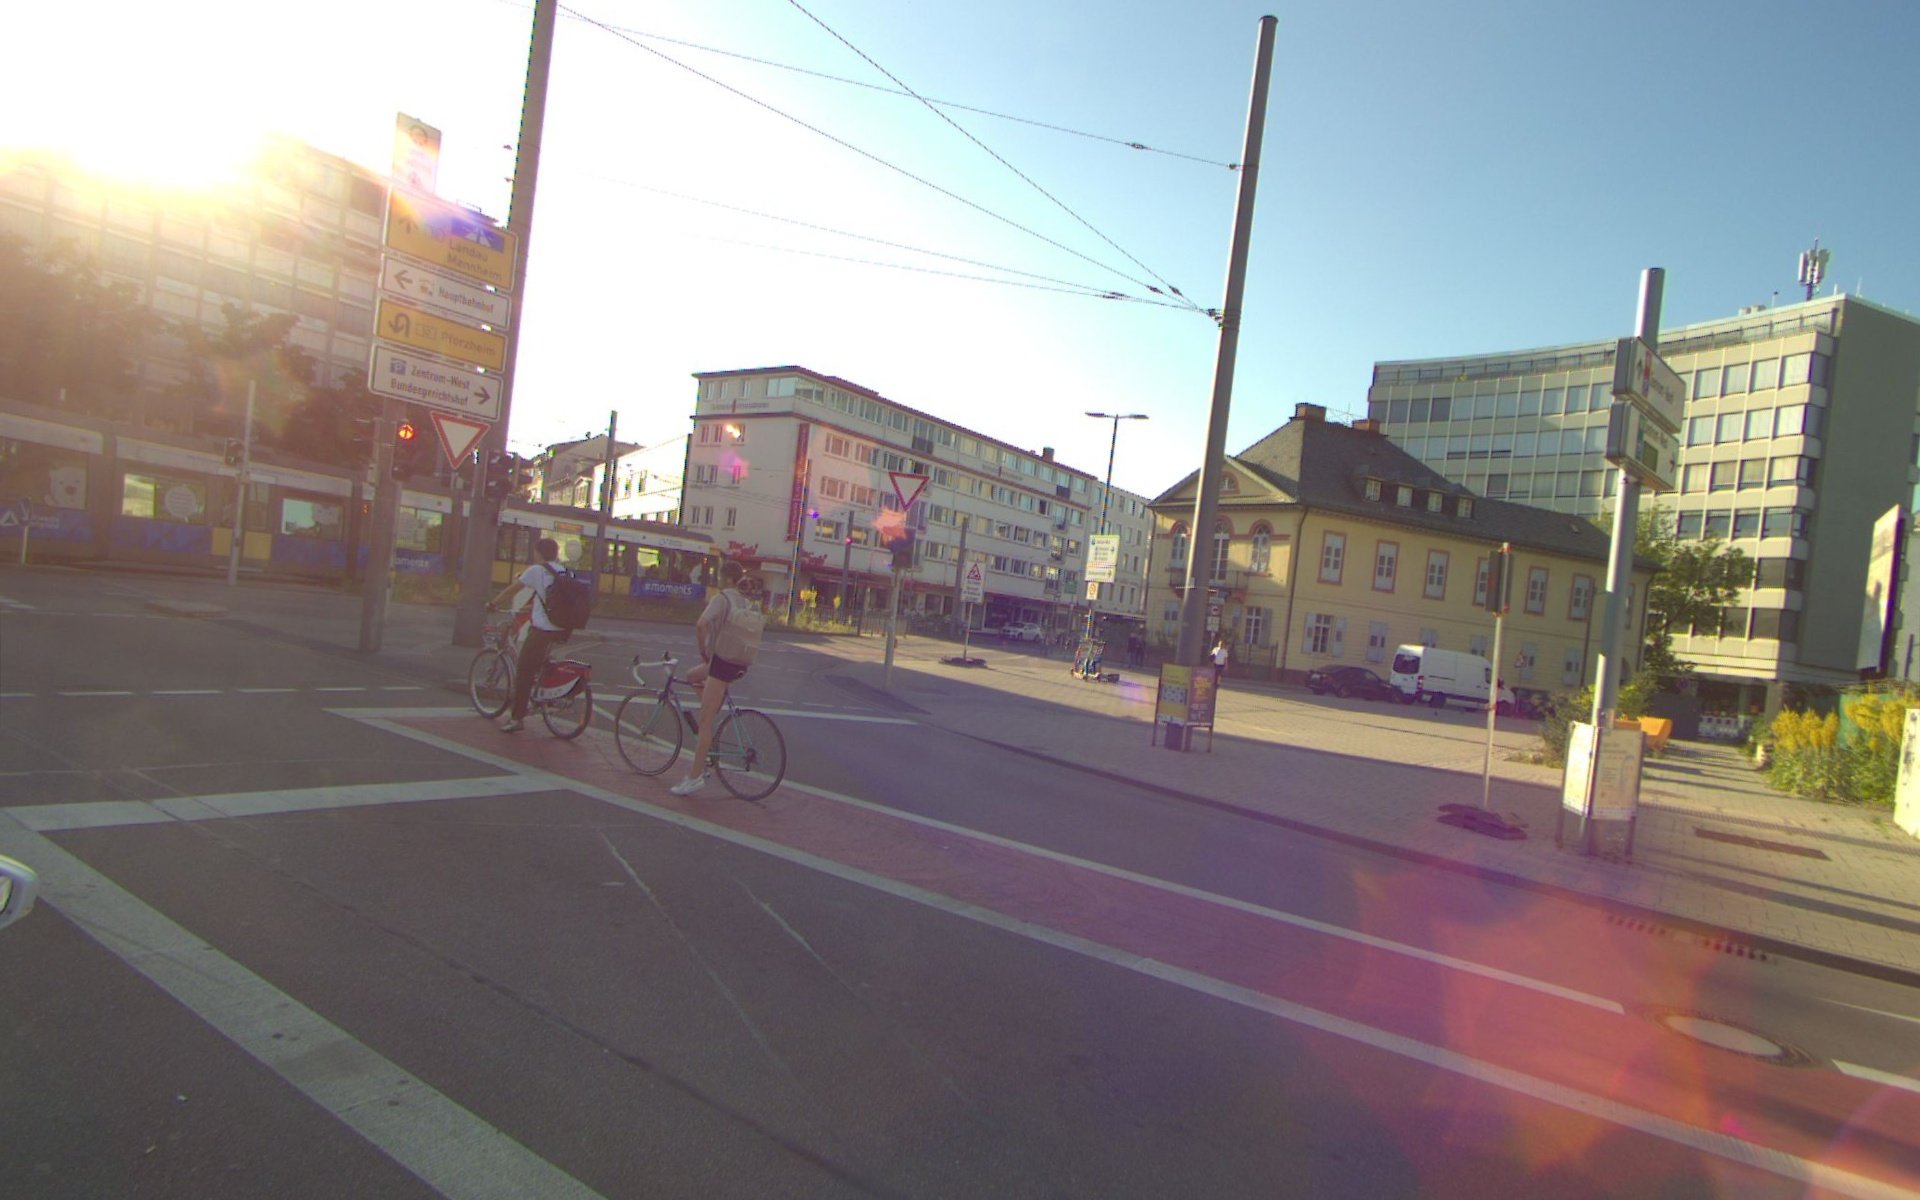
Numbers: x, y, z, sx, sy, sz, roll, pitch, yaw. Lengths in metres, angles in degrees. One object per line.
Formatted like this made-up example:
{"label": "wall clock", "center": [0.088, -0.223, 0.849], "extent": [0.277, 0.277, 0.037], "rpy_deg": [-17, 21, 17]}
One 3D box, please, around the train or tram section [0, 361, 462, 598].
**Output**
{"label": "train or tram section", "center": [-19.162, -2.600, 25.505], "extent": [3.645, 3.878, 12.991], "rpy_deg": [7, -1, 16]}

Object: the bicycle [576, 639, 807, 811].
{"label": "bicycle", "center": [-2.057, 0.915, 7.655], "extent": [1.664, 1.013, 0.543], "rpy_deg": [6, -1, 27]}

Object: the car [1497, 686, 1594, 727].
{"label": "car", "center": [27.097, 4.926, 46.590], "extent": [3.706, 1.380, 1.709], "rpy_deg": [8, -2, -17]}

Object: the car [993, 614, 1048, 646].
{"label": "car", "center": [5.041, 2.501, 83.388], "extent": [1.970, 2.036, 4.858], "rpy_deg": [6, -2, 38]}

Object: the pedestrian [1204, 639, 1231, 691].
{"label": "pedestrian", "center": [9.373, 2.362, 36.633], "extent": [0.746, 1.783, 1.009], "rpy_deg": [7, -1, 16]}

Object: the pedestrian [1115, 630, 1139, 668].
{"label": "pedestrian", "center": [7.815, 2.305, 47.035], "extent": [0.803, 1.661, 0.686], "rpy_deg": [7, -1, -1]}

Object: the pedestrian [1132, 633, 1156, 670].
{"label": "pedestrian", "center": [8.652, 2.422, 47.276], "extent": [0.803, 1.661, 0.686], "rpy_deg": [7, -1, -4]}

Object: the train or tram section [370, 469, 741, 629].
{"label": "train or tram section", "center": [-14.136, -1.528, 37.323], "extent": [3.653, 3.877, 12.968], "rpy_deg": [6, -2, 30]}

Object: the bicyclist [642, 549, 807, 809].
{"label": "bicyclist", "center": [-1.742, 0.570, 7.482], "extent": [0.778, 1.766, 0.615], "rpy_deg": [7, -1, 27]}

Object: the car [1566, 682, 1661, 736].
{"label": "car", "center": [31.155, 5.205, 47.978], "extent": [3.706, 2.003, 1.709], "rpy_deg": [8, -2, -17]}

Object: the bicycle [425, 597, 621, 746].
{"label": "bicycle", "center": [-4.031, 0.633, 9.248], "extent": [1.777, 1.113, 0.543], "rpy_deg": [6, -1, 27]}

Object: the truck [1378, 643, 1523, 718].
{"label": "truck", "center": [21.836, 3.576, 44.807], "extent": [5.556, 2.578, 2.294], "rpy_deg": [8, -2, -17]}

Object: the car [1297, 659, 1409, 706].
{"label": "car", "center": [16.626, 3.482, 42.592], "extent": [4.133, 1.380, 1.709], "rpy_deg": [8, -2, -17]}

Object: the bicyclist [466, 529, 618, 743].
{"label": "bicyclist", "center": [-3.809, 0.319, 9.173], "extent": [1.042, 1.789, 0.543], "rpy_deg": [7, -1, 27]}

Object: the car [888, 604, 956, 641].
{"label": "car", "center": [-2.656, 1.619, 71.638], "extent": [1.970, 2.036, 4.858], "rpy_deg": [6, -2, 38]}
